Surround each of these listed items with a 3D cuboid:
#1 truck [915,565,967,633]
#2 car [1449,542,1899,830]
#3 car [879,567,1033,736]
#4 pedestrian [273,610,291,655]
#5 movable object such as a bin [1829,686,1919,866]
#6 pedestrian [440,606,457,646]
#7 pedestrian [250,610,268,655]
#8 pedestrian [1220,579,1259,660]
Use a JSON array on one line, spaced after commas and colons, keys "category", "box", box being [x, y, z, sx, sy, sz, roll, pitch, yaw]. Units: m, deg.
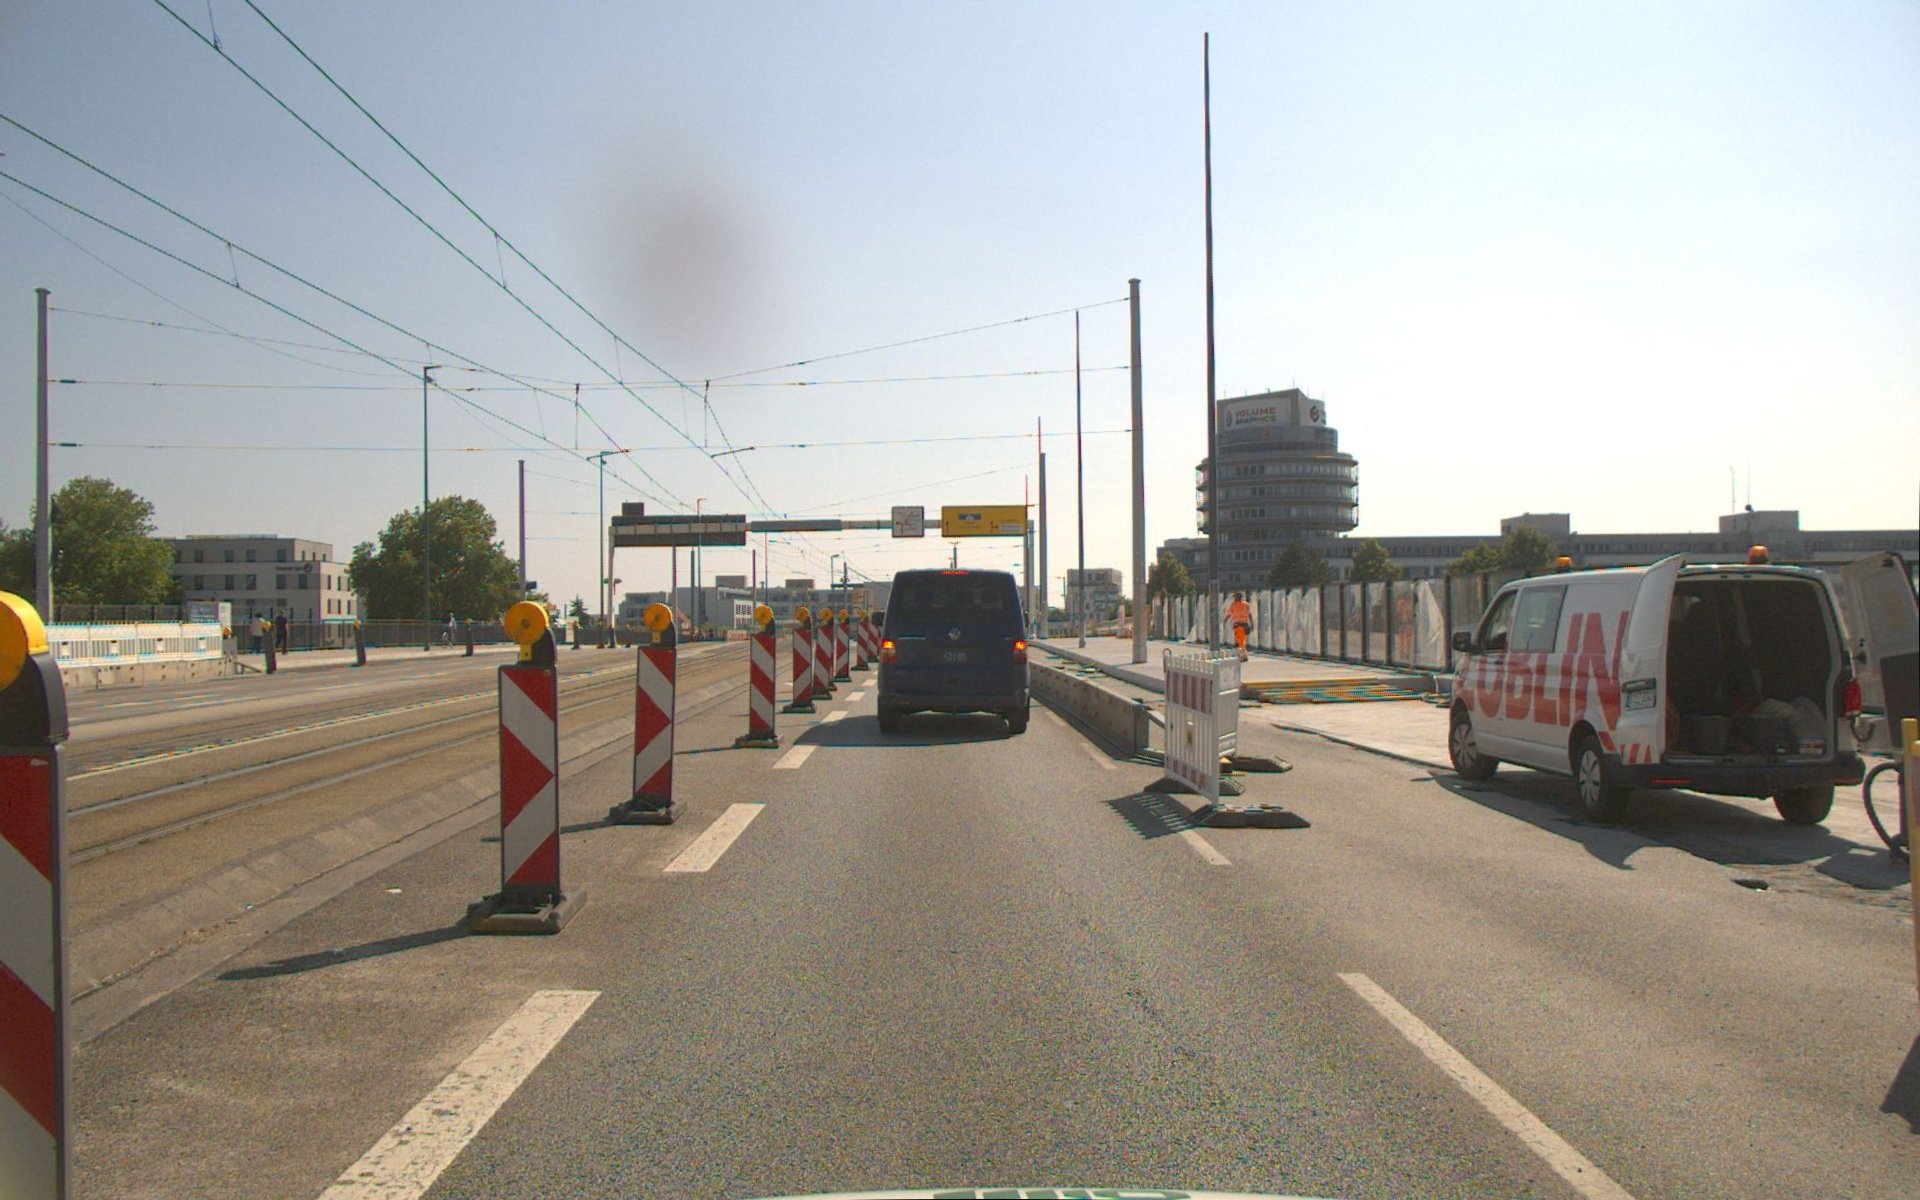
[{"category": "truck", "box": [-0.965, -0.075, 83.965, 2.410, 3.189, 11.213, -1, 0, -1]}, {"category": "car", "box": [5.878, 0.648, 14.393, 1.840, 2.069, 4.891, 0, -1, 0]}, {"category": "car", "box": [-0.047, 0.591, 21.287, 1.778, 1.939, 4.054, -1, 0, 0]}, {"category": "pedestrian", "box": [-26.110, 1.265, 63.692, 0.485, 1.724, 0.474, 0, -1, -1]}, {"category": "movable object such as a bin", "box": [6.353, 1.145, 10.867, 0.885, 1.093, 0.927, 1, -1, -45]}, {"category": "pedestrian", "box": [-24.763, 1.277, 80.102, 0.621, 1.927, 0.752, 0, 0, -1]}, {"category": "pedestrian", "box": [-27.003, 1.246, 63.696, 0.485, 1.724, 0.474, 0, -1, -1]}, {"category": "pedestrian", "box": [6.922, 0.493, 41.022, 0.766, 1.969, 0.799, -2, -1, -1]}]
